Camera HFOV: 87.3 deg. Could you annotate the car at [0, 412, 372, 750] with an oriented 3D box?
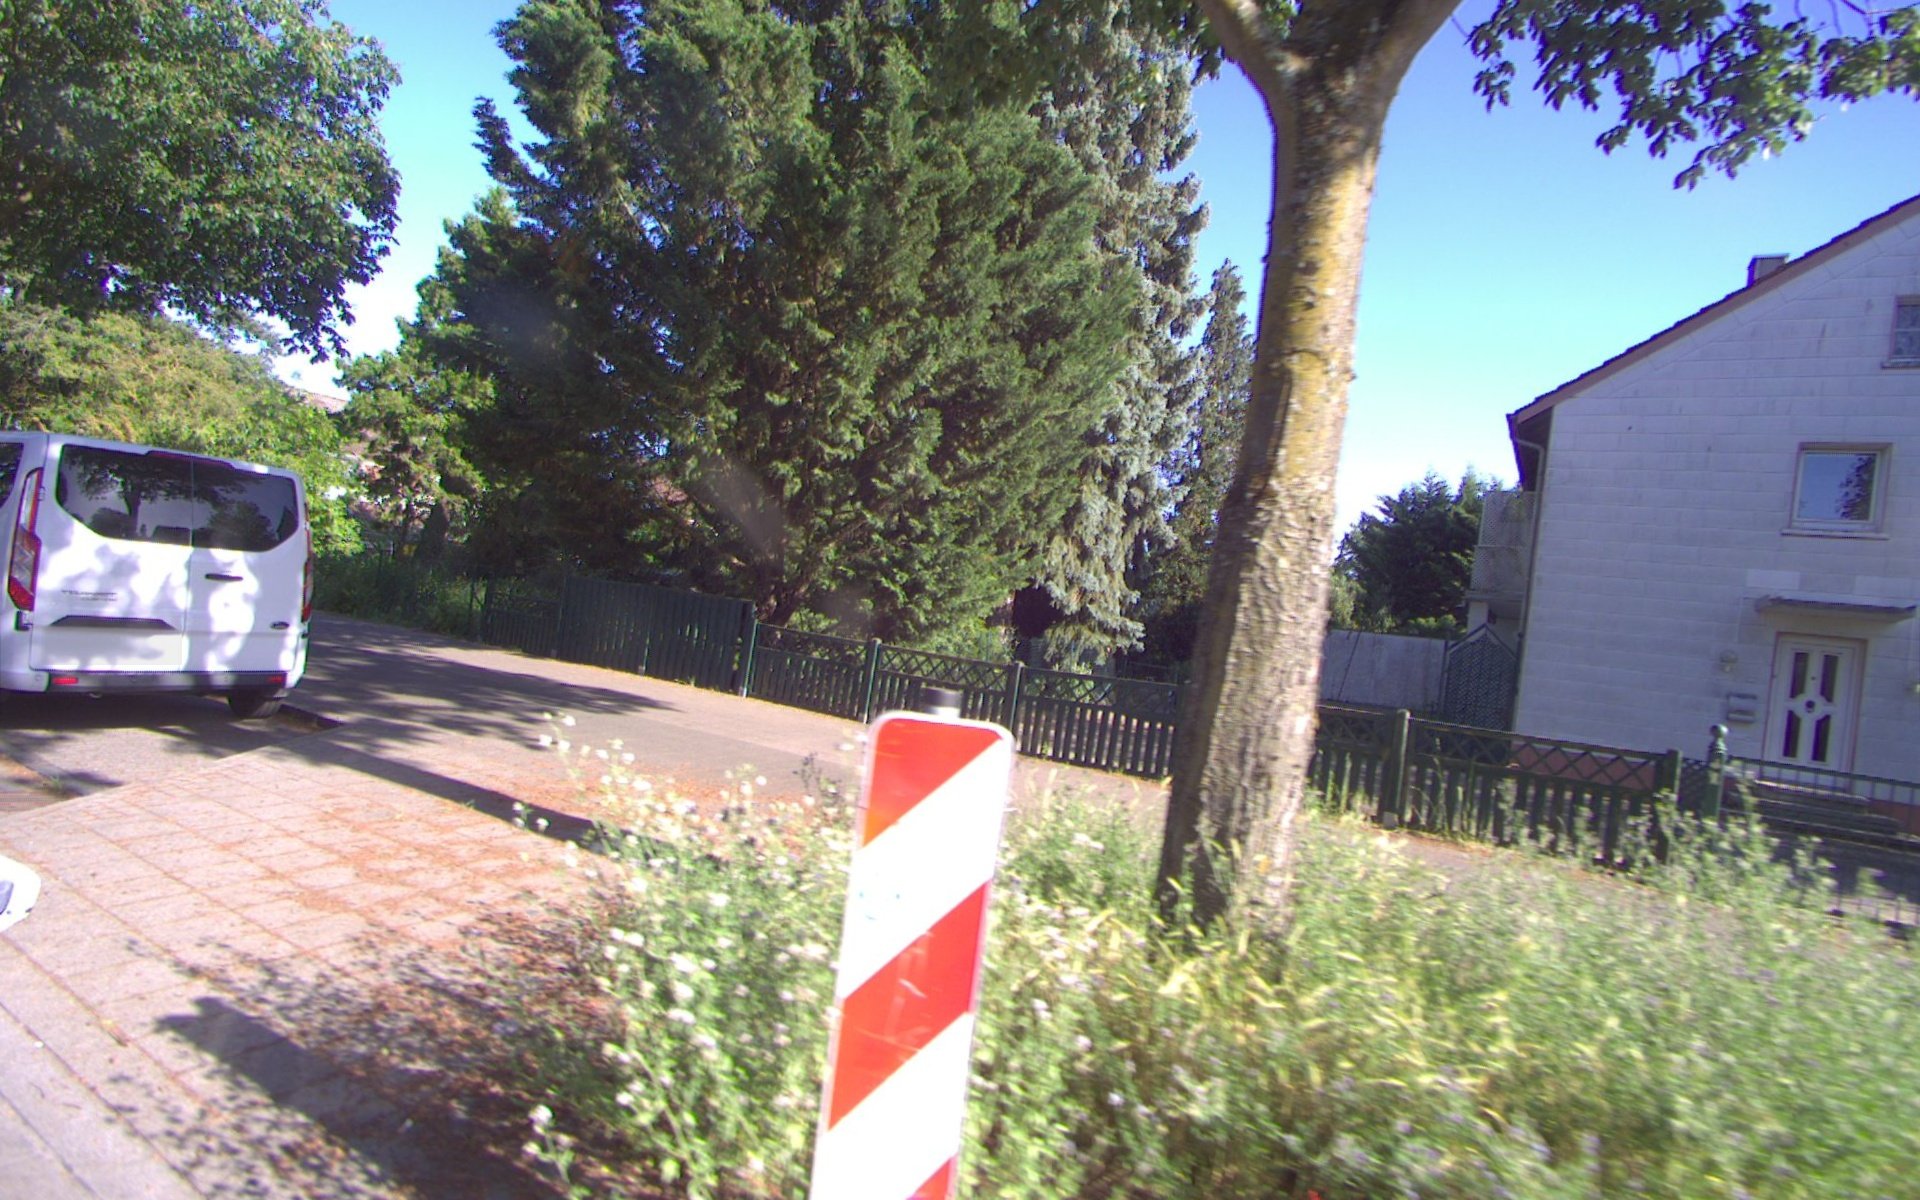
[{"bbox_3d":[-7.367,-0.229,8.208,5.109,2.035,2.000,6,-4,31],"label":"car"}]
